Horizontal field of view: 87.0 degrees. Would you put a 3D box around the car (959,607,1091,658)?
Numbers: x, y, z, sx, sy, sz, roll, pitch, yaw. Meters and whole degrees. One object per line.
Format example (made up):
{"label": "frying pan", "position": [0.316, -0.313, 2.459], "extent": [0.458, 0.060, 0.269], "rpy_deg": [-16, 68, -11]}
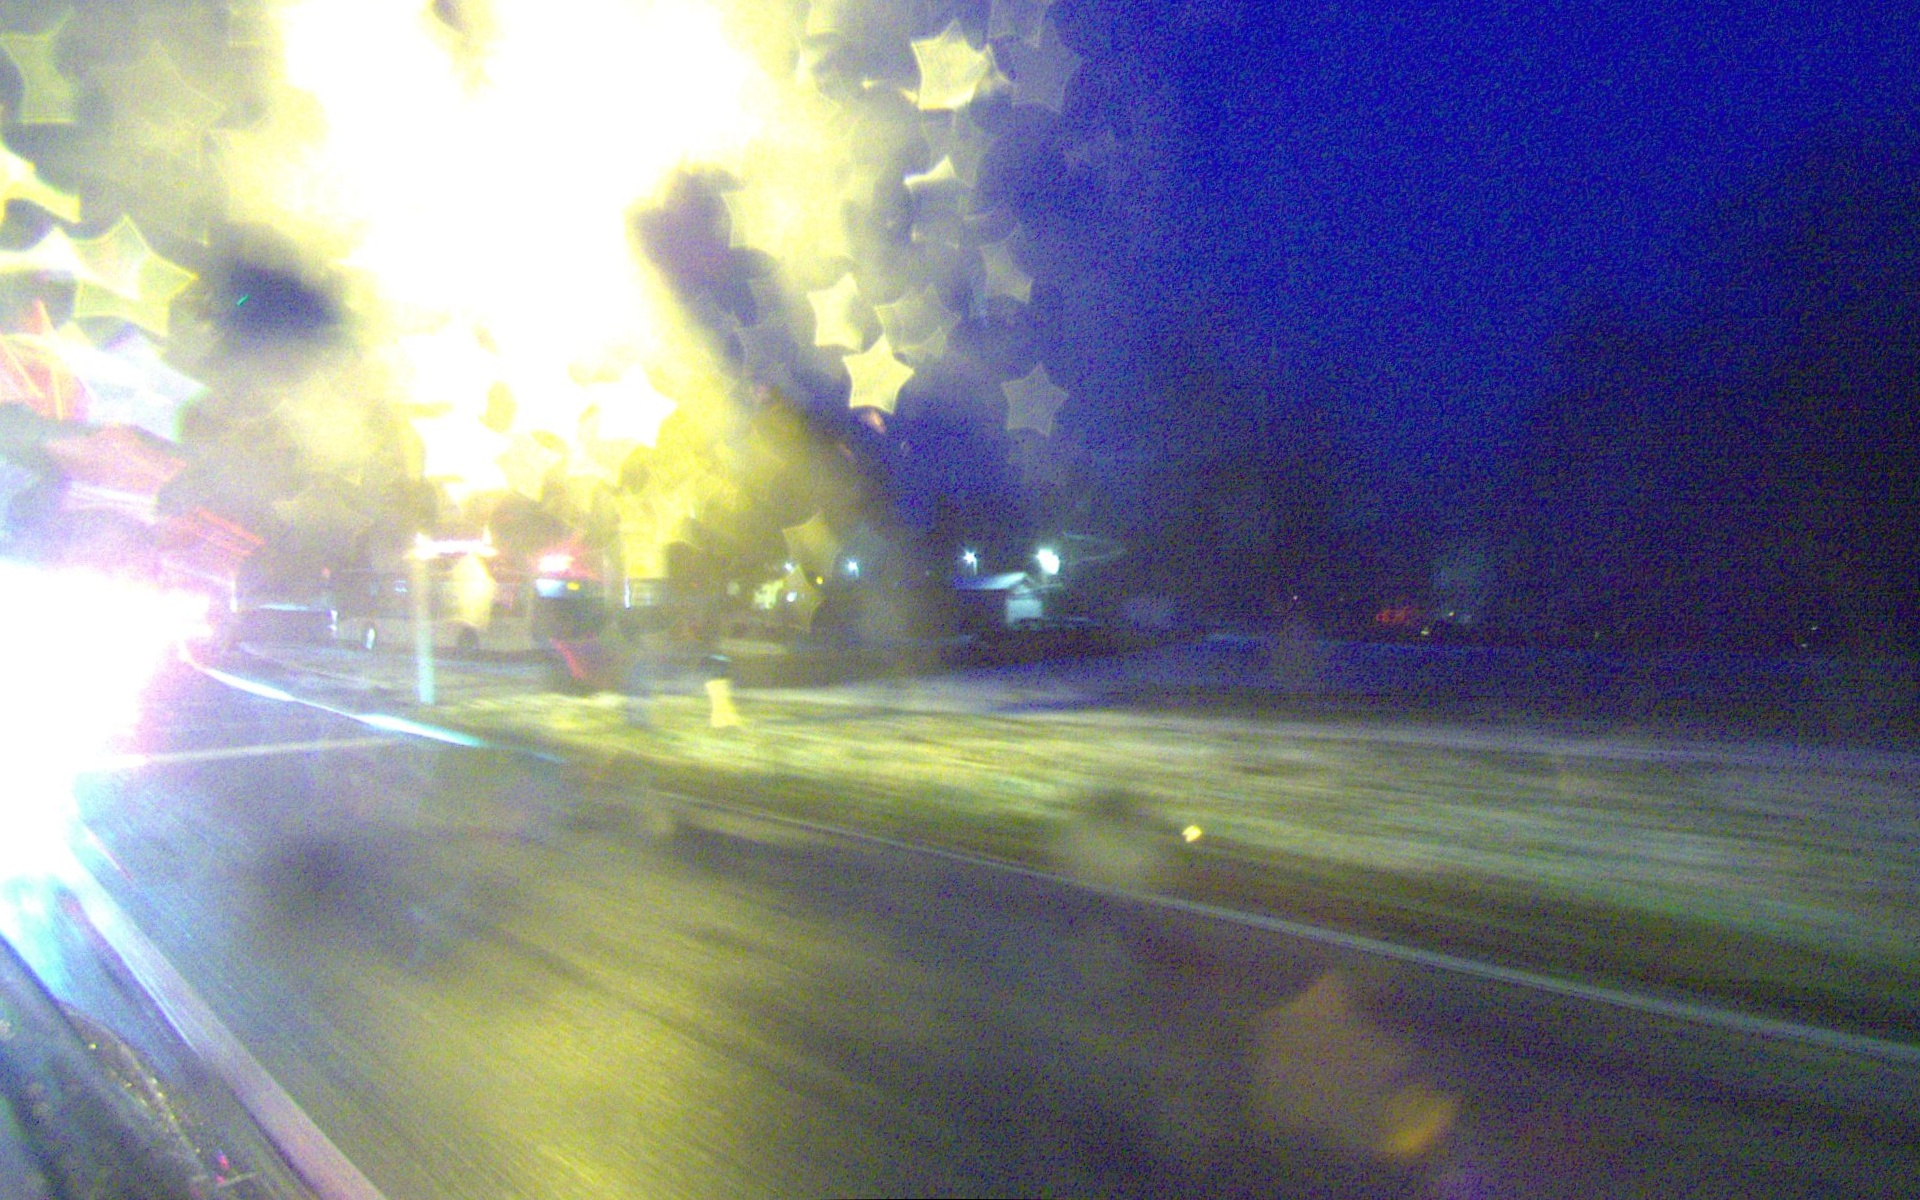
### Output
{"label": "car", "position": [2.399, 1.163, 38.025], "extent": [4.615, 1.710, 1.921], "rpy_deg": [0, 1, 34]}

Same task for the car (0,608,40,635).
{"label": "car", "position": [-50.144, 1.140, 53.598], "extent": [3.365, 1.302, 1.571], "rpy_deg": [0, 2, 38]}

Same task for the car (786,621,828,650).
{"label": "car", "position": [-8.744, 1.990, 57.559], "extent": [1.830, 1.408, 4.051], "rpy_deg": [2, 0, -15]}

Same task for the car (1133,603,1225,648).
{"label": "car", "position": [10.595, 1.206, 49.028], "extent": [3.986, 2.071, 1.746], "rpy_deg": [0, 1, 31]}

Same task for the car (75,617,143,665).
{"label": "car", "position": [-28.920, 1.419, 34.441], "extent": [1.614, 1.522, 4.124], "rpy_deg": [3, -4, -40]}

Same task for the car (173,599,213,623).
{"label": "car", "position": [-49.893, 0.698, 65.885], "extent": [1.689, 1.487, 3.880], "rpy_deg": [-2, 0, -31]}

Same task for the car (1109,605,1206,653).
{"label": "car", "position": [9.149, 1.292, 46.959], "extent": [3.986, 2.071, 1.979], "rpy_deg": [0, 1, 31]}

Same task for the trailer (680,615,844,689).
{"label": "trailer", "position": [-4.953, 1.300, 25.035], "extent": [4.096, 1.690, 1.794], "rpy_deg": [-3, -4, 39]}

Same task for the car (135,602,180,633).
{"label": "car", "position": [-43.451, 0.945, 54.865], "extent": [1.673, 1.611, 3.810], "rpy_deg": [0, -1, -35]}

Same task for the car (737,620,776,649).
{"label": "car", "position": [-11.483, 1.921, 56.875], "extent": [1.830, 1.408, 4.051], "rpy_deg": [2, 0, -15]}

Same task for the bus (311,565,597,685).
{"label": "bus", "position": [-18.968, 0.912, 37.347], "extent": [13.009, 3.898, 2.872], "rpy_deg": [-1, -1, 31]}

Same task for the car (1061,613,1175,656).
{"label": "car", "position": [6.985, 1.466, 44.891], "extent": [4.615, 1.710, 1.921], "rpy_deg": [0, 1, 34]}
